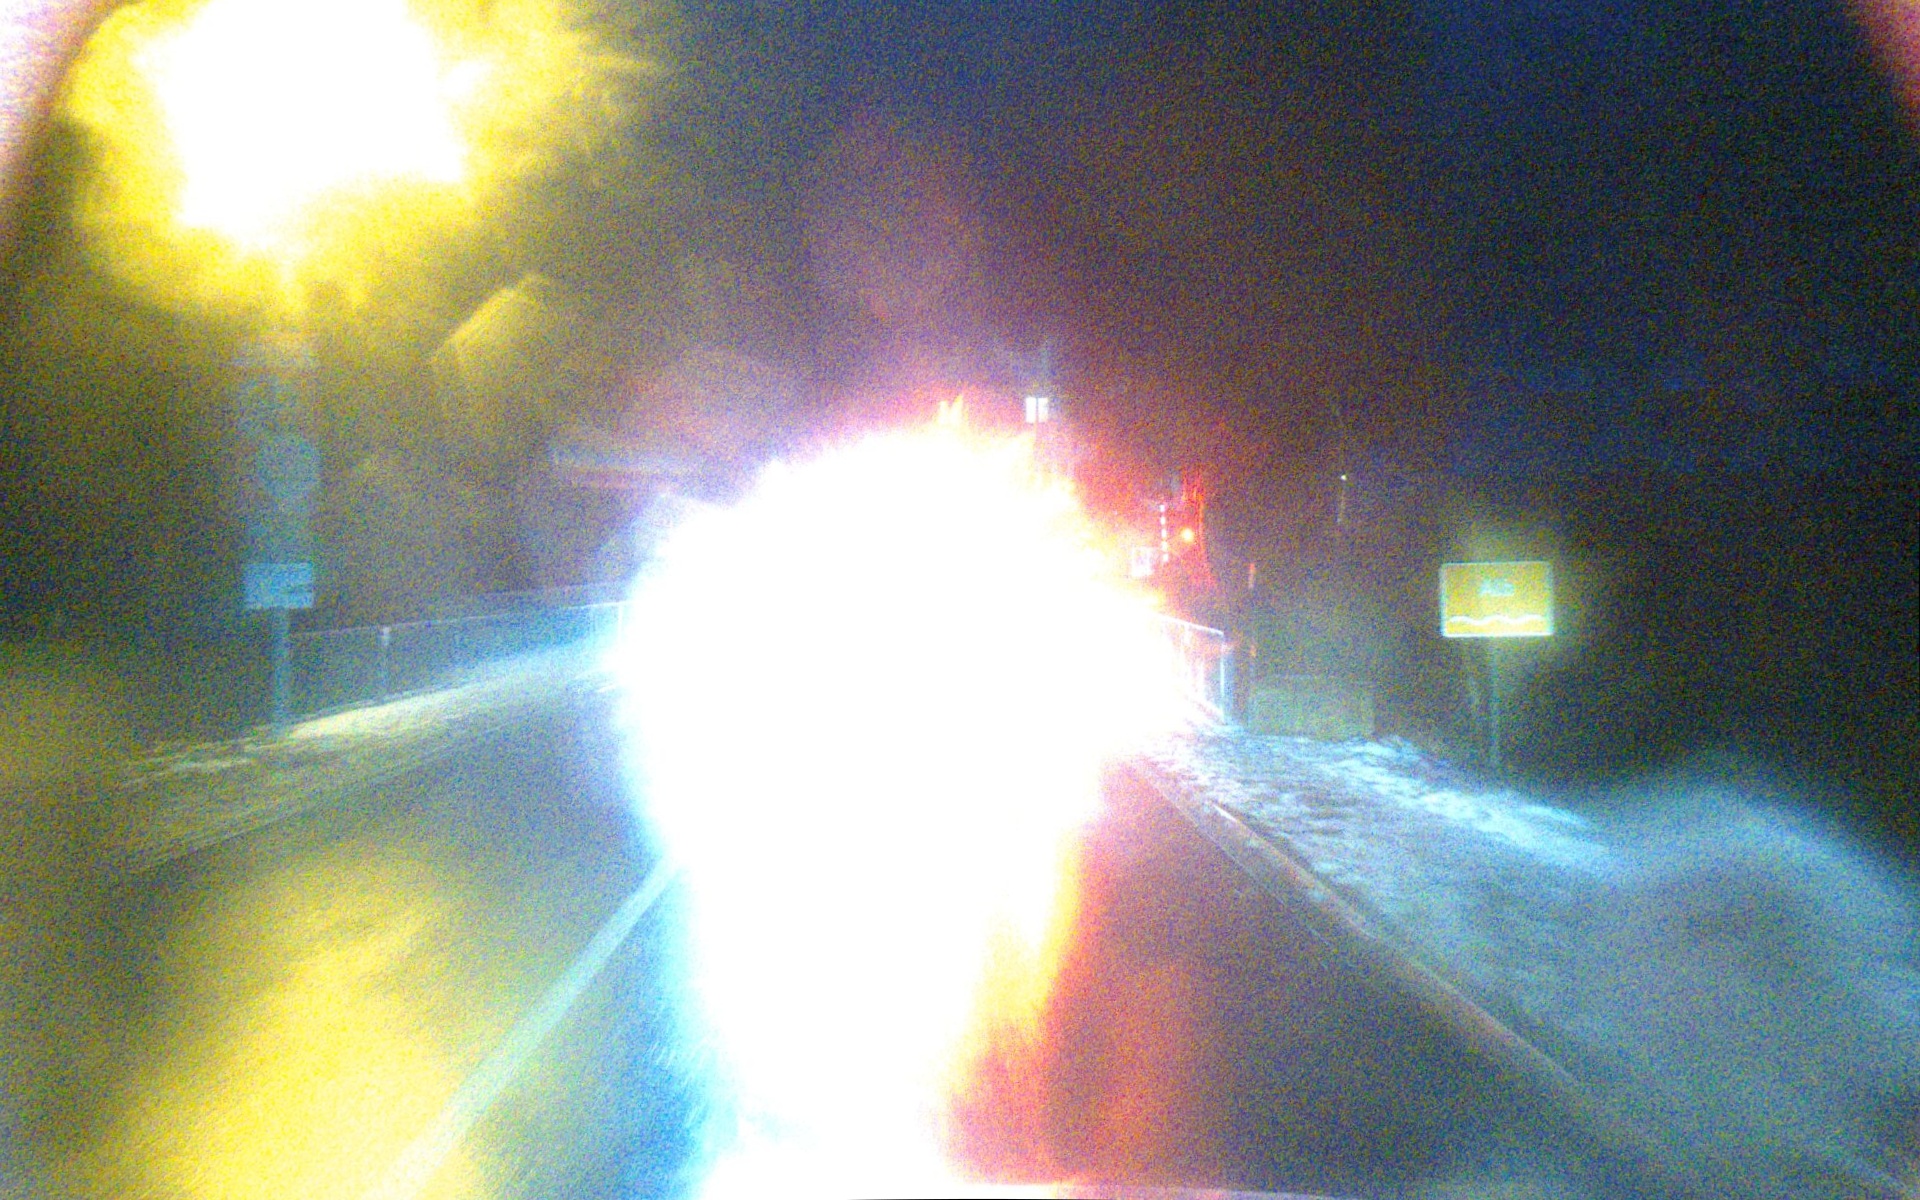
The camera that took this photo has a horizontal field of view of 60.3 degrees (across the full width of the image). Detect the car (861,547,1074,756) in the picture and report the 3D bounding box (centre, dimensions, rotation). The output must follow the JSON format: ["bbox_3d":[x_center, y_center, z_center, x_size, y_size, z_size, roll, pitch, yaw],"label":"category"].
[{"bbox_3d":[0.093,0.393,15.960,1.754,1.710,3.905,-2,1,1],"label":"car"}]

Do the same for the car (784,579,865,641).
[{"bbox_3d":[-3.812,0.268,47.303,1.836,1.572,4.355,-4,0,0],"label":"car"}]
